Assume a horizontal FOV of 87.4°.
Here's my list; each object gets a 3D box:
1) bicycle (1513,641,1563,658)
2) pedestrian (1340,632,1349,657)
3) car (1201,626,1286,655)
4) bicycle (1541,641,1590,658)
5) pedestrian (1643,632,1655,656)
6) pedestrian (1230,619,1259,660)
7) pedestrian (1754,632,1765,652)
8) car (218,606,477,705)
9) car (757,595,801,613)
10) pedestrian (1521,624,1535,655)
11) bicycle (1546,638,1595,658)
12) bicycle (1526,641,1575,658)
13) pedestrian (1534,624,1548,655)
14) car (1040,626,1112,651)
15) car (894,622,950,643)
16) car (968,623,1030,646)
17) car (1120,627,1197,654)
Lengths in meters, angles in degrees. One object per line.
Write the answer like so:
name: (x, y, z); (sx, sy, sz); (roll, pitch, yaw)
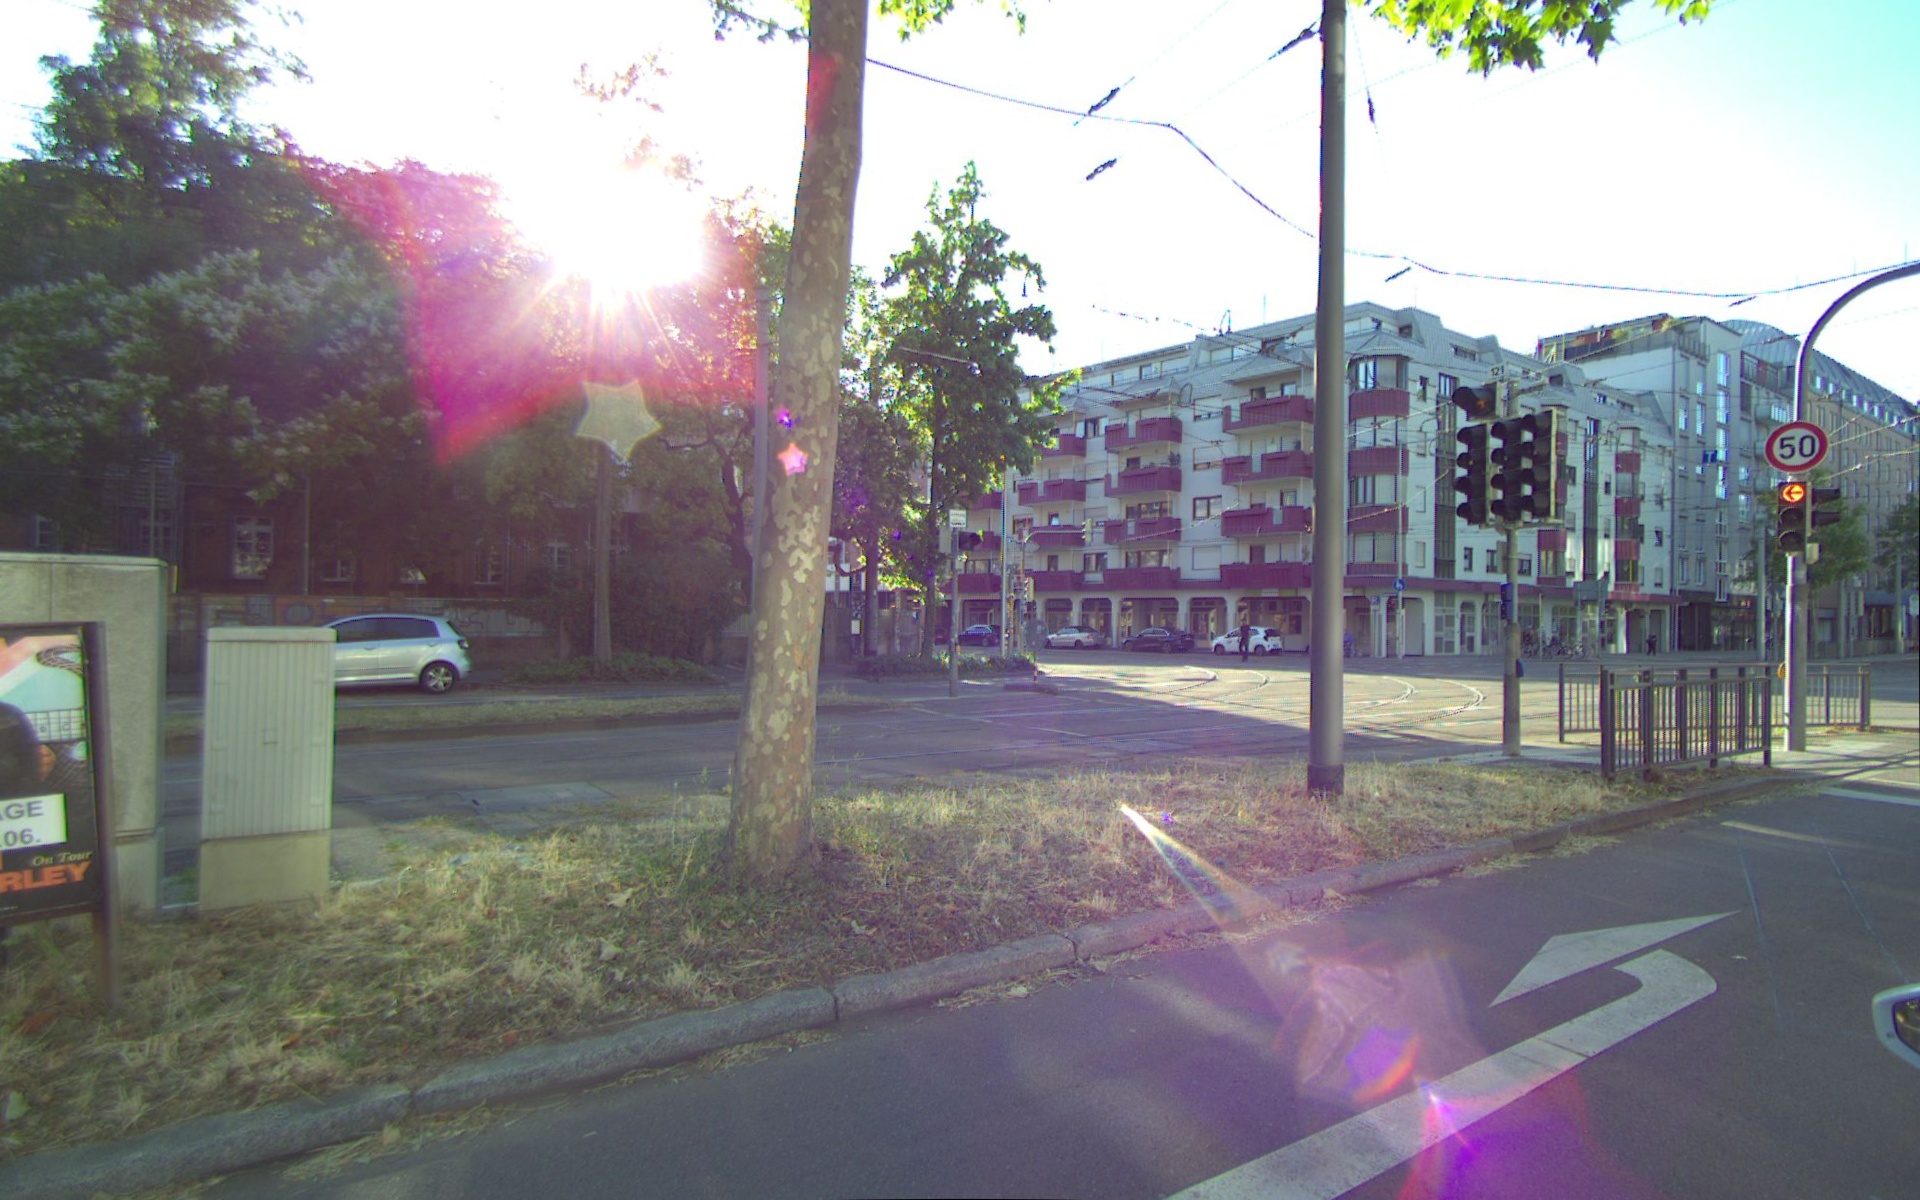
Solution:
bicycle: (29.577, 2.523, 51.390); (0.635, 0.797, 2.153); (1, -2, -37)
pedestrian: (19.083, 2.187, 49.848); (0.316, 1.230, 0.301); (1, -2, -40)
car: (14.861, 2.119, 52.798); (3.946, 1.483, 1.791); (-2, -2, 44)
bicycle: (31.503, 2.559, 52.282); (0.523, 0.835, 2.153); (1, -2, -37)
pedestrian: (42.732, 2.706, 62.263); (0.524, 1.478, 0.506); (1, -1, -42)
pedestrian: (11.760, 1.633, 41.500); (1.025, 1.684, 0.703); (1, -2, -39)
pedestrian: (59.898, 3.143, 75.277); (0.523, 1.478, 0.507); (1, -1, -37)
car: (-11.879, 1.022, 19.596); (4.140, 1.711, 1.979); (1, -1, -37)
car: (-15.639, 0.354, 86.712); (1.790, 1.483, 3.948); (2, -2, -44)
pedestrian: (31.866, 2.194, 56.382); (0.523, 1.721, 0.507); (1, -1, -37)
bicycle: (31.997, 2.510, 52.689); (0.487, 0.963, 2.153); (1, -2, -37)
bicycle: (30.331, 2.543, 51.617); (0.487, 0.797, 2.153); (1, -2, -37)
pedestrian: (32.418, 2.177, 56.038); (0.523, 1.721, 0.507); (1, -1, -37)
car: (7.038, 2.332, 61.145); (1.790, 1.483, 4.215); (2, -2, -44)
car: (-2.740, 2.343, 71.986); (1.790, 1.483, 3.948); (2, -2, -44)
car: (2.535, 2.270, 66.288); (1.790, 1.483, 3.948); (2, -2, -44)
car: (11.154, 2.252, 56.562); (3.945, 1.483, 1.791); (-2, -2, 44)
